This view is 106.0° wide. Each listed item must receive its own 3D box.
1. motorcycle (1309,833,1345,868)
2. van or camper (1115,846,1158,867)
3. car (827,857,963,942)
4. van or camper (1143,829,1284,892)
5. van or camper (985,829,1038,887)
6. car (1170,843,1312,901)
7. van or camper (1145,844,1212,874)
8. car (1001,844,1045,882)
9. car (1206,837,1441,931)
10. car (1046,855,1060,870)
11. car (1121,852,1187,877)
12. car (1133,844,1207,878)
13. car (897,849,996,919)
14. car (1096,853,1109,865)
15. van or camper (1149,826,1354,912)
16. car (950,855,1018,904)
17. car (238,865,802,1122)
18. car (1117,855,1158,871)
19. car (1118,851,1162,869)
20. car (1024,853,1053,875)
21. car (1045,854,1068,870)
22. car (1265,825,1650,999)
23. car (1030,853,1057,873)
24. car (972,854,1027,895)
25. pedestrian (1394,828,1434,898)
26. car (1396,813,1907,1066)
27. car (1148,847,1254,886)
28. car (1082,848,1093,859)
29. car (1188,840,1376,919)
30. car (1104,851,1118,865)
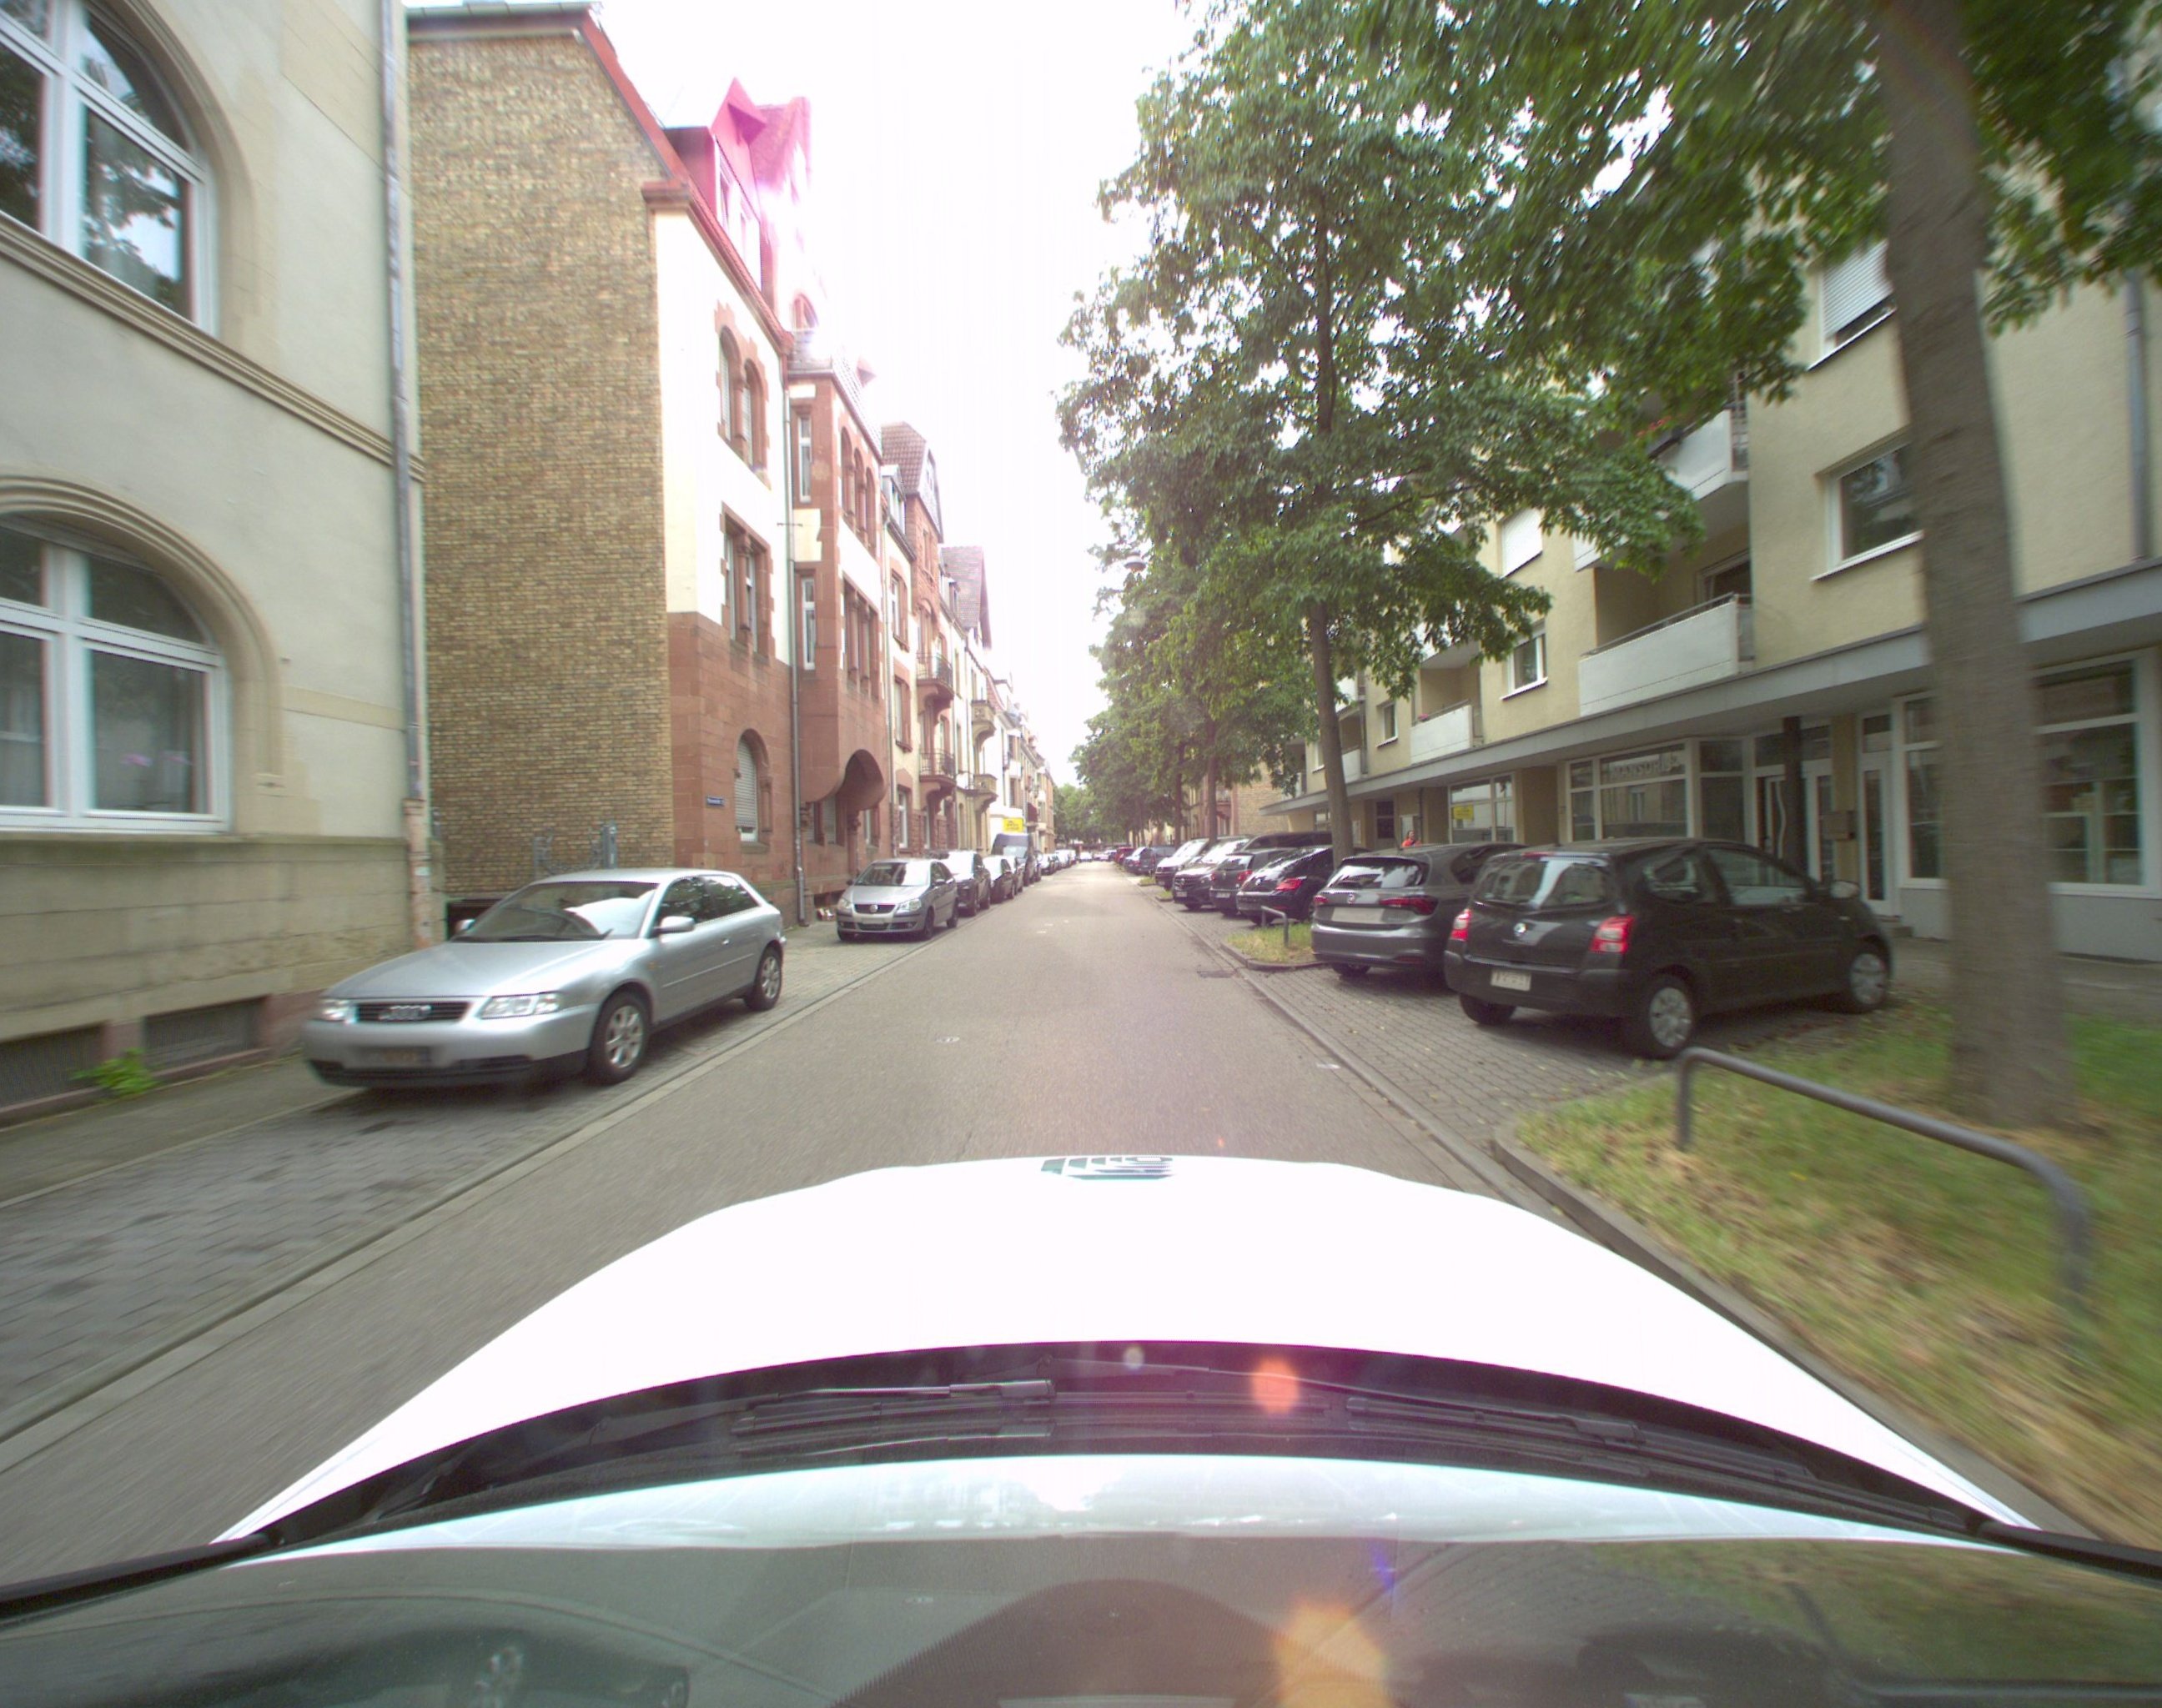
[{"bbox_3d":[9.801,-0.130,32.557,0.675,1.301,2.253,-4,0,1],"label":"motorcycle"},{"bbox_3d":[5.952,0.262,87.808,4.170,2.085,1.935,-2,0,-27],"label":"van or camper"},{"bbox_3d":[-3.453,0.783,15.820,1.657,1.420,3.930,0,0,1],"label":"car"},{"bbox_3d":[4.910,0.223,30.216,4.753,1.994,1.983,-3,-2,-25],"label":"van or camper"},{"bbox_3d":[-3.380,0.169,40.540,2.001,2.651,5.317,-1,0,1],"label":"van or camper"},{"bbox_3d":[4.915,0.527,24.889,4.021,1.444,1.824,-4,0,-31],"label":"car"},{"bbox_3d":[7.412,0.356,61.784,4.805,2.137,2.036,-1,0,-30],"label":"van or camper"},{"bbox_3d":[-3.225,0.471,46.196,1.986,2.013,4.892,-1,0,1],"label":"car"},{"bbox_3d":[4.698,0.528,15.785,4.059,1.483,1.932,-3,0,-25],"label":"car"},{"bbox_3d":[-2.489,0.781,73.363,1.132,1.309,3.260,-1,0,1],"label":"car"},{"bbox_3d":[4.904,0.708,54.538,4.036,1.559,1.866,-1,0,-30],"label":"car"},{"bbox_3d":[5.632,0.450,51.703,4.197,1.869,1.981,-4,-1,-29],"label":"car"},{"bbox_3d":[-3.386,0.703,21.313,1.780,1.647,4.362,0,0,1],"label":"car"},{"bbox_3d":[3.486,0.815,131.884,1.986,1.794,4.000,0,-1,1],"label":"car"},{"bbox_3d":[4.529,0.354,21.506,5.033,1.869,2.108,-3,0,-27],"label":"van or camper"},{"bbox_3d":[-3.091,0.783,26.653,1.629,1.473,4.001,0,0,1],"label":"car"},{"bbox_3d":[-3.910,0.823,6.715,1.720,1.386,4.137,0,0,1],"label":"car"},{"bbox_3d":[5.431,0.862,78.388,3.754,1.465,1.726,-1,0,-5],"label":"car"},{"bbox_3d":[5.339,0.526,73.822,3.754,1.465,1.726,-1,0,-5],"label":"car"},{"bbox_3d":[-2.956,0.704,57.729,1.783,1.480,4.022,-1,0,0],"label":"car"},{"bbox_3d":[-2.411,0.782,80.913,1.986,1.475,4.001,-1,0,1],"label":"car"},{"bbox_3d":[4.494,0.550,9.639,4.239,1.500,1.957,-4,0,-29],"label":"car"},{"bbox_3d":[-2.860,0.687,63.319,1.823,1.426,3.801,1,0,1],"label":"car"},{"bbox_3d":[-3.086,0.771,31.498,1.661,1.473,4.001,0,-1,1],"label":"car"},{"bbox_3d":[8.542,0.232,20.906,0.622,1.742,0.849,-3,0,1],"label":"pedestrian"},{"bbox_3d":[4.611,0.541,6.692,3.373,1.496,1.838,-3,-1,-22],"label":"car"},{"bbox_3d":[5.289,0.533,35.752,4.329,1.392,1.904,-4,0,-31],"label":"car"},{"bbox_3d":[1.040,-0.119,130.641,1.815,1.645,3.753,0,-1,1],"label":"car"},{"bbox_3d":[4.629,0.540,18.695,3.872,1.502,1.895,-3,0,-28],"label":"car"},{"bbox_3d":[4.648,0.620,125.011,1.987,2.013,4.000,1,0,1],"label":"car"}]
